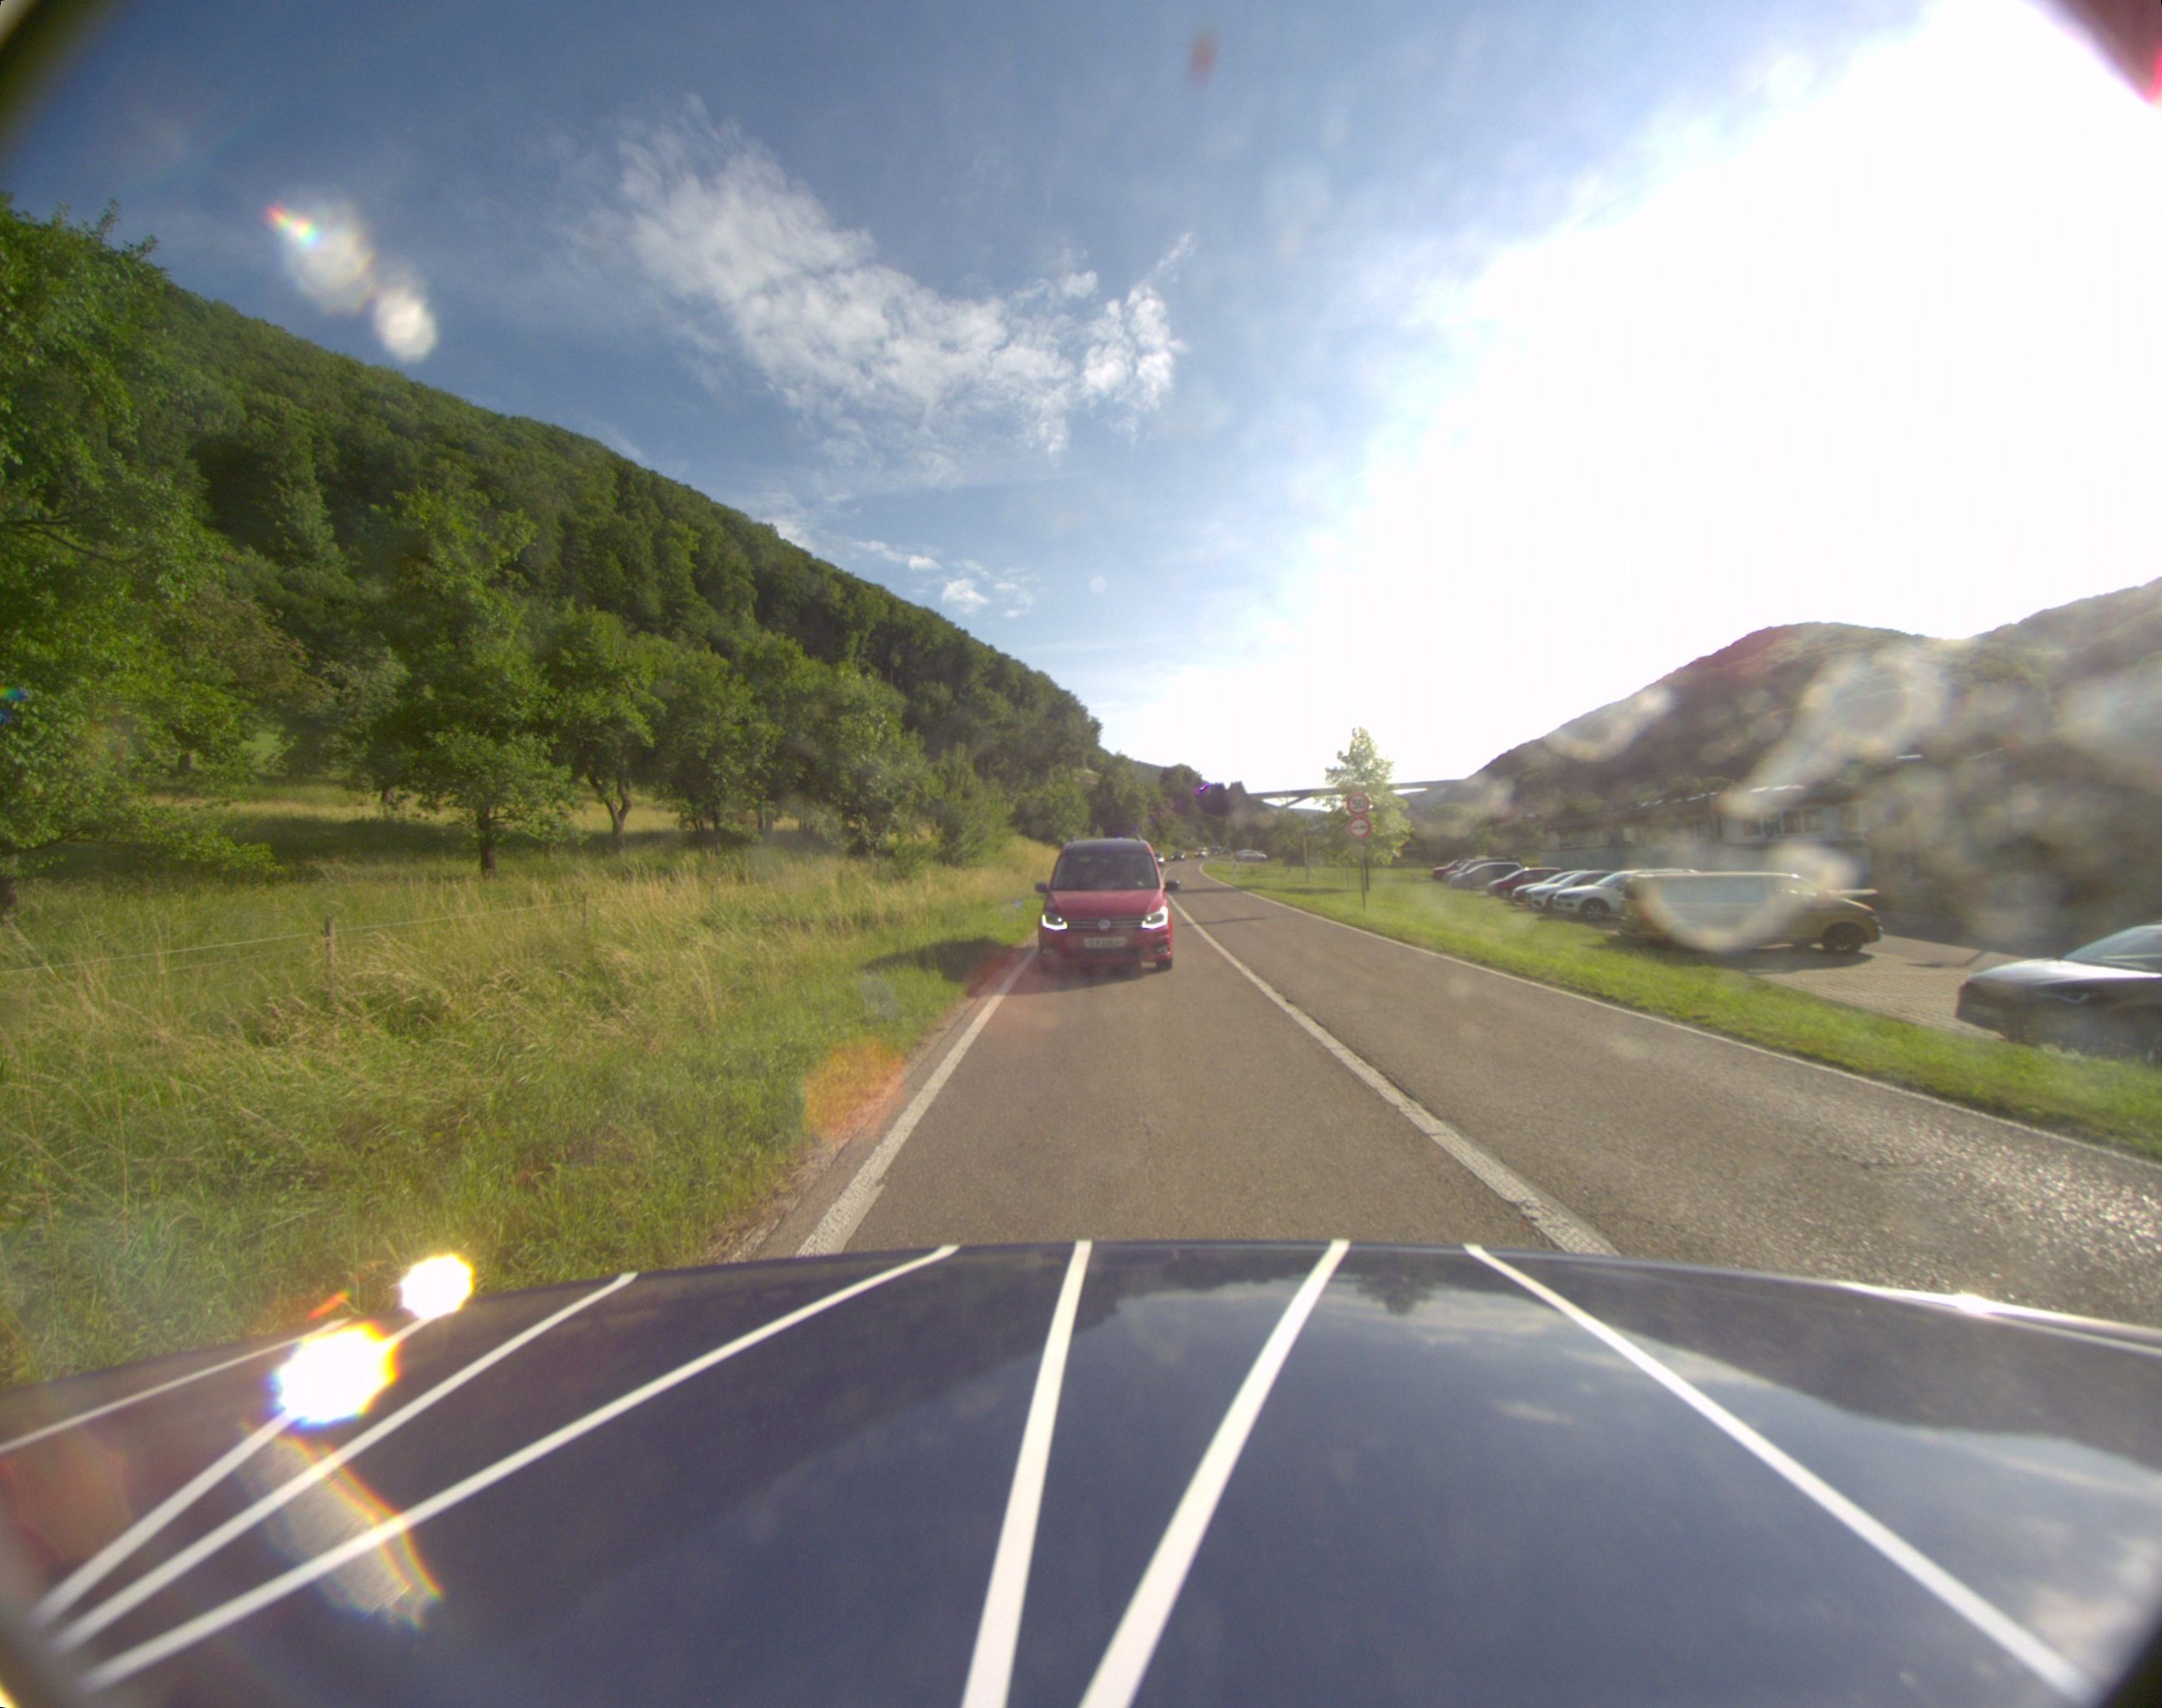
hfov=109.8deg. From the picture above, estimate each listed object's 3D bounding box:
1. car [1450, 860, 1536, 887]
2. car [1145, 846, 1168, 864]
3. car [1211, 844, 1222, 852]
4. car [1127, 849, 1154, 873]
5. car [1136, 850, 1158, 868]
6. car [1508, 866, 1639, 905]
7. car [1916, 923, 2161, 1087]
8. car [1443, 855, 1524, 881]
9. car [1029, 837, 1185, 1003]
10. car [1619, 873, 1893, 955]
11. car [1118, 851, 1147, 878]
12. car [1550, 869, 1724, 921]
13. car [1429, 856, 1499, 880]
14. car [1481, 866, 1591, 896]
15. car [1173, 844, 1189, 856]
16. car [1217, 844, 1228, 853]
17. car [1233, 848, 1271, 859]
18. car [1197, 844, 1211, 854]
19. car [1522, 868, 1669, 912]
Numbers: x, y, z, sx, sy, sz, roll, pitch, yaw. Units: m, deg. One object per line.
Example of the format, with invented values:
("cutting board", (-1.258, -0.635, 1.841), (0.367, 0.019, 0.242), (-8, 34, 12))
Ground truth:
("car", (25.778, 1.224, 47.732), (4.437, 1.573, 2.003), (-2, 0, 18))
("car", (8.057, 0.135, 80.816), (1.997, 1.838, 4.004), (-2, 0, 11))
("car", (27.157, -1.191, 152.316), (1.677, 1.637, 3.350), (-2, 0, 16))
("car", (4.598, 0.549, 58.460), (1.900, 1.717, 4.002), (-2, 0, 6))
("car", (5.939, 0.453, 67.965), (1.798, 1.464, 4.286), (-2, 0, 7))
("car", (21.396, 1.352, 33.205), (4.437, 1.573, 2.003), (-1, 0, 18))
("car", (13.491, 1.741, 9.113), (4.289, 1.628, 1.915), (-3, 0, 15))
("car", (27.571, 0.966, 52.196), (4.665, 1.752, 2.003), (-1, 0, 18))
("car", (0.324, 0.779, 10.926), (1.747, 1.849, 4.348), (-2, 0, 1))
("car", (16.389, 1.402, 18.794), (4.653, 1.802, 2.003), (-1, 0, 20))
("car", (3.175, 0.625, 46.592), (1.692, 1.539, 4.002), (-2, 0, 5))
("car", (19.317, 1.394, 26.651), (4.545, 1.691, 2.003), (-1, 0, 20))
("car", (28.856, 1.065, 57.371), (4.437, 1.709, 2.003), (-1, 0, 18))
("car", (22.685, 1.339, 38.082), (4.437, 1.443, 2.003), (-1, 0, 20))
("car", (14.525, -0.517, 110.009), (1.911, 1.675, 4.004), (-2, -1, 12))
("car", (30.962, -1.204, 165.964), (1.996, 1.706, 4.006), (-3, -2, 16))
("car", (23.491, -0.078, 104.106), (4.778, 1.518, 1.996), (-1, 0, -23))
("car", (21.893, -0.869, 134.680), (1.796, 1.725, 4.289), (-2, 0, 17))
("car", (20.189, 1.398, 30.050), (4.437, 1.577, 2.003), (-1, 0, 20))
